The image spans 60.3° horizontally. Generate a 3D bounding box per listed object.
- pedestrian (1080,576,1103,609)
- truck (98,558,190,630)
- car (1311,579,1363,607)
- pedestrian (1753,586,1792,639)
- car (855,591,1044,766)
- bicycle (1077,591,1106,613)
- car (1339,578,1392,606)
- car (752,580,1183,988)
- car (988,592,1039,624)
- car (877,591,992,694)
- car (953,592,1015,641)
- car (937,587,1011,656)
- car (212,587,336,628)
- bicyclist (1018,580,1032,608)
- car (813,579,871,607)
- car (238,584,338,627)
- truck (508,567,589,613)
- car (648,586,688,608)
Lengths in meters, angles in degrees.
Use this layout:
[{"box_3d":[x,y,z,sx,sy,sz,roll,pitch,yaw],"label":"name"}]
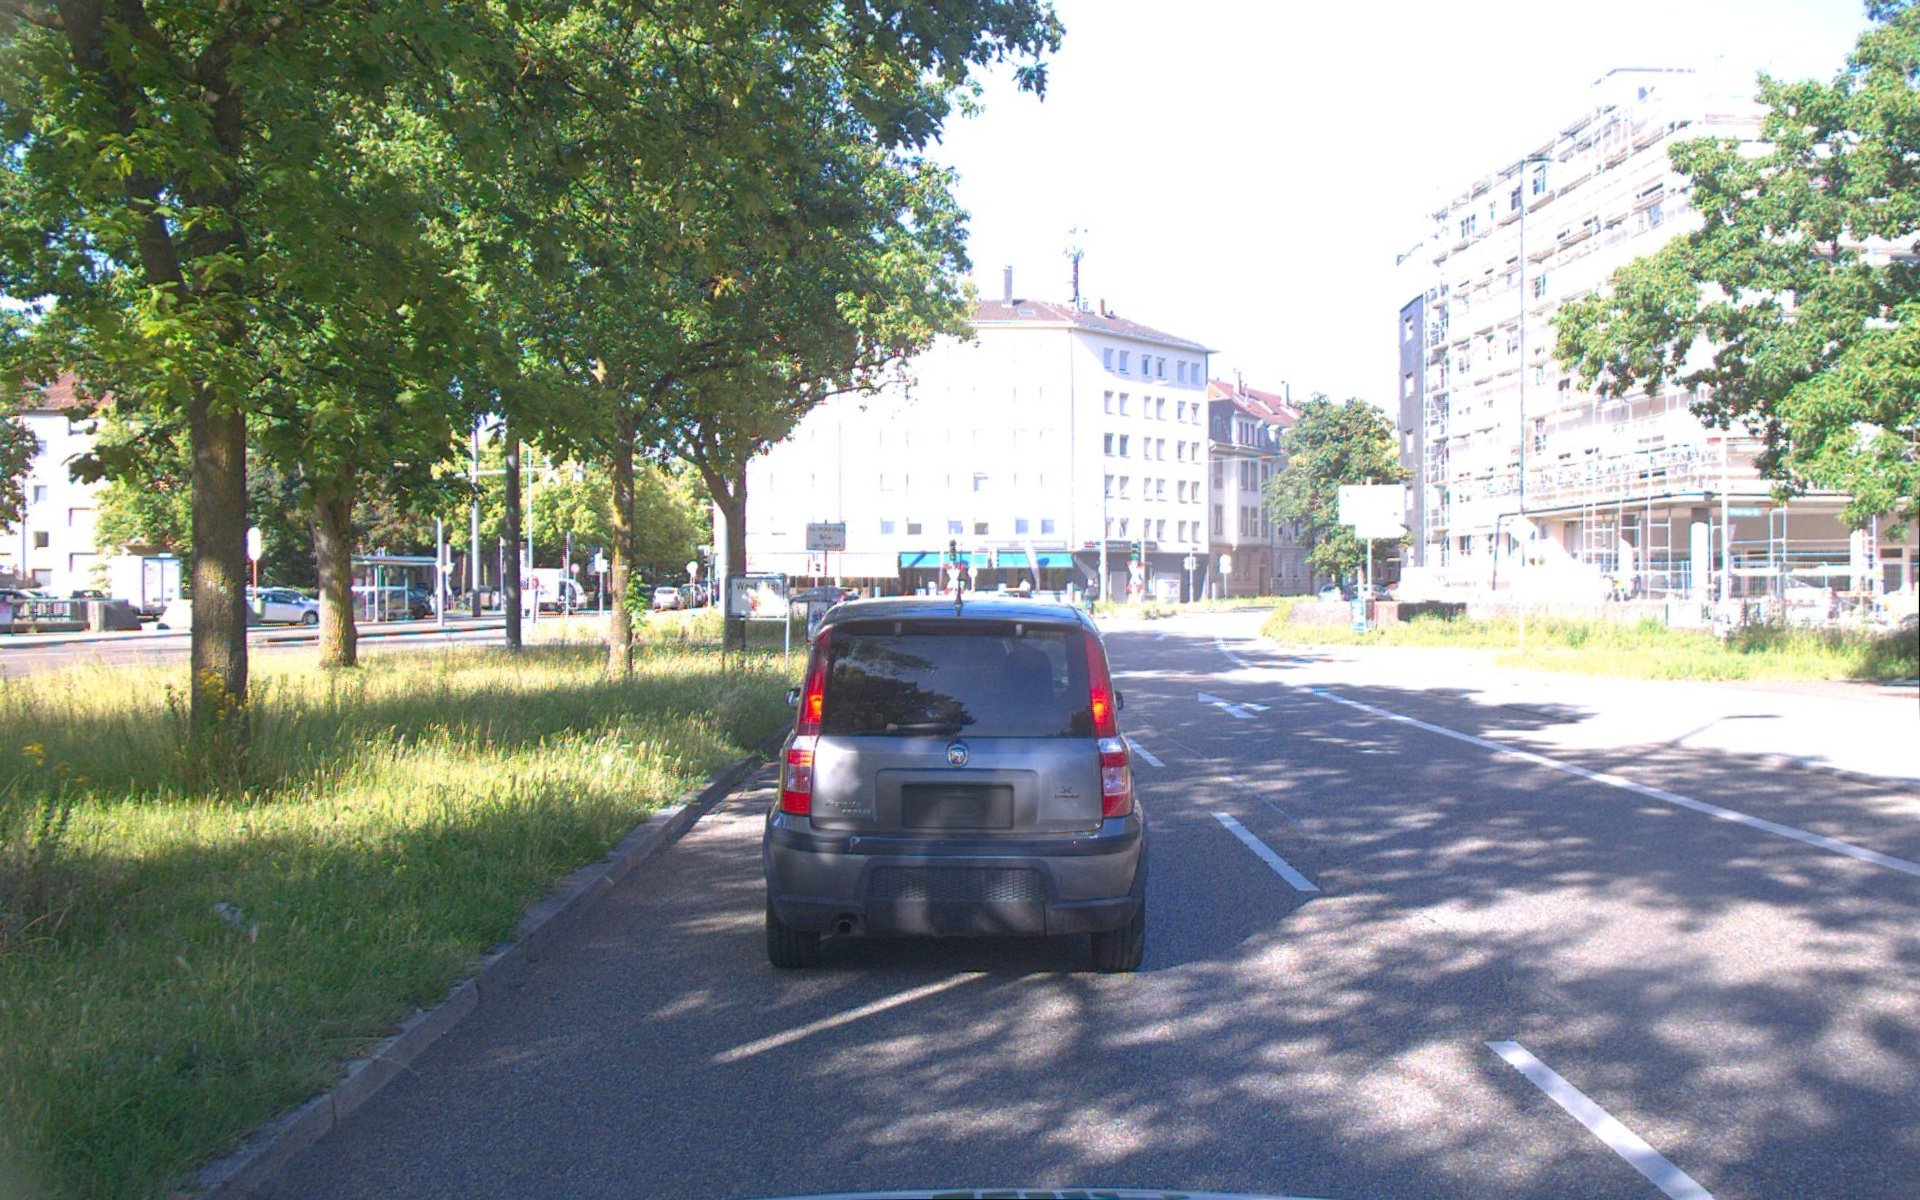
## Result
[{"box_3d":[5.906,-0.330,74.436,0.760,1.452,0.935,1,-1,-14],"label":"pedestrian"},{"box_3d":[-36.023,-0.301,72.969,4.742,3.047,1.988,1,1,42],"label":"truck"},{"box_3d":[20.664,-0.413,90.668,1.742,1.468,3.610,1,1,31],"label":"car"},{"box_3d":[23.655,0.359,48.156,0.637,1.523,0.907,0,0,-9],"label":"pedestrian"},{"box_3d":[-0.114,0.652,15.834,1.588,1.454,3.688,0,1,-1],"label":"car"},{"box_3d":[5.914,0.087,74.367,0.769,0.968,1.849,1,0,-14],"label":"bicycle"},{"box_3d":[23.293,-0.493,94.836,1.787,1.534,3.990,0,1,32],"label":"car"},{"box_3d":[0.052,0.680,7.896,1.625,1.536,3.252,0,1,1],"label":"car"},{"box_3d":[2.243,0.327,70.033,1.953,1.264,3.999,0,1,-1],"label":"car"},{"box_3d":[-0.448,0.630,27.010,1.724,1.512,4.292,0,1,-2],"label":"car"},{"box_3d":[0.644,0.430,45.709,1.656,1.275,3.626,0,1,0],"label":"car"},{"box_3d":[0.325,0.457,37.578,1.612,1.463,3.396,0,1,1],"label":"car"},{"box_3d":[-29.235,0.299,70.580,1.840,1.570,4.521,4,3,42],"label":"car"},{"box_3d":[3.228,-0.289,81.905,0.521,1.380,0.595,0,0,-16],"label":"bicyclist"},{"box_3d":[-6.565,-0.376,92.104,1.643,1.527,3.549,-1,1,-35],"label":"car"},{"box_3d":[-29.951,0.220,73.783,1.724,1.747,3.997,3,3,26],"label":"car"},{"box_3d":[-22.310,-0.563,89.740,4.015,2.469,1.792,0,0,-4],"label":"truck"},{"box_3d":[-19.026,-0.211,107.840,1.953,1.333,3.999,0,1,-1],"label":"car"}]
